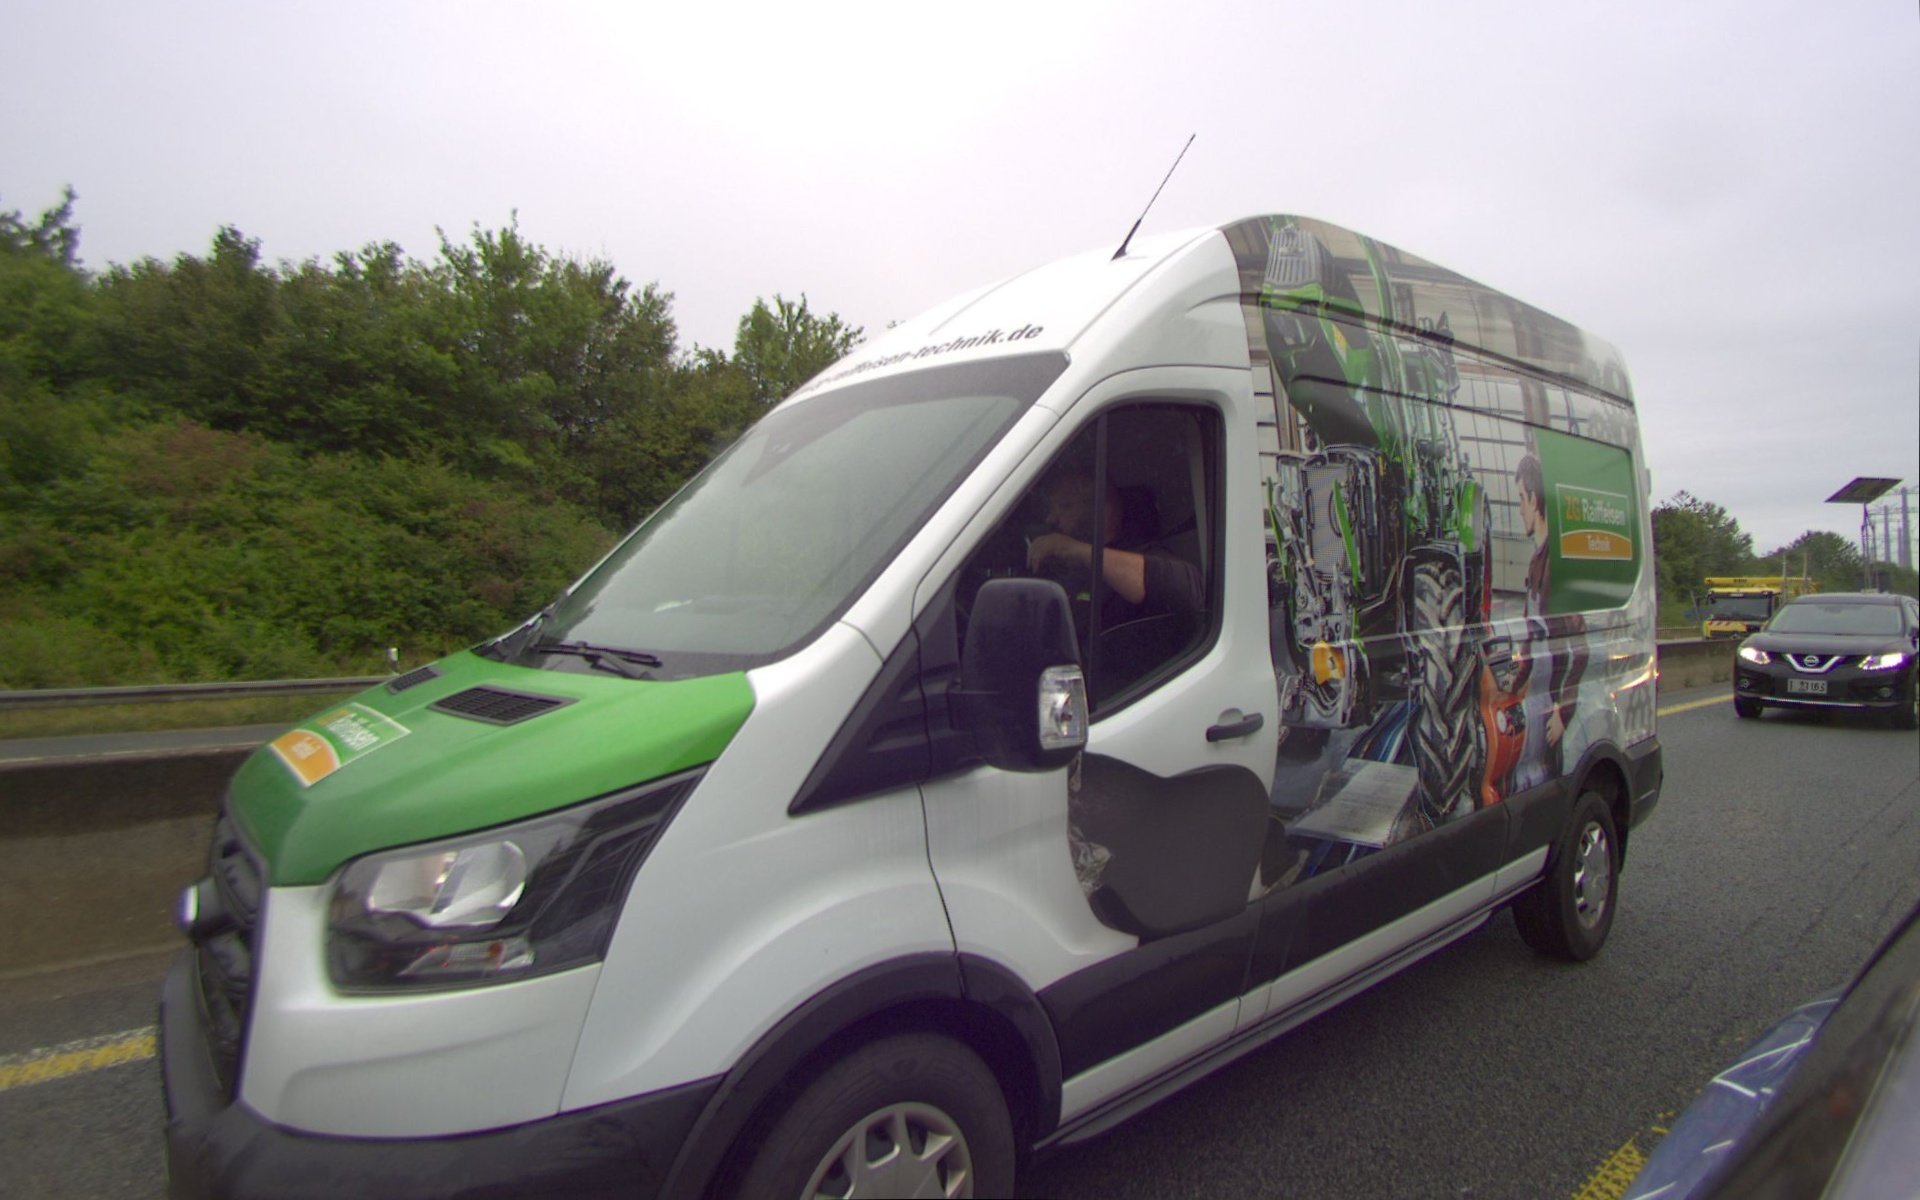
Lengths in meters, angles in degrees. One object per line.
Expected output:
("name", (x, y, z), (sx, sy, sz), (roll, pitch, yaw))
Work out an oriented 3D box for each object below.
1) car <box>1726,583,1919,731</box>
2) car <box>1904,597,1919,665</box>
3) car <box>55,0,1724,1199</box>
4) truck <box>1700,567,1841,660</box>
("car", (12.188, 0.636, 13.825), (4.560, 1.696, 1.893), (0, 0, -41))
("car", (23.248, 0.684, 23.341), (4.052, 1.509, 1.782), (0, 0, -41))
("car", (0.715, 0.004, 3.777), (6.009, 2.709, 2.148), (0, 0, -40))
("truck", (33.389, 0.464, 41.509), (9.403, 3.467, 2.618), (0, 0, -39))
